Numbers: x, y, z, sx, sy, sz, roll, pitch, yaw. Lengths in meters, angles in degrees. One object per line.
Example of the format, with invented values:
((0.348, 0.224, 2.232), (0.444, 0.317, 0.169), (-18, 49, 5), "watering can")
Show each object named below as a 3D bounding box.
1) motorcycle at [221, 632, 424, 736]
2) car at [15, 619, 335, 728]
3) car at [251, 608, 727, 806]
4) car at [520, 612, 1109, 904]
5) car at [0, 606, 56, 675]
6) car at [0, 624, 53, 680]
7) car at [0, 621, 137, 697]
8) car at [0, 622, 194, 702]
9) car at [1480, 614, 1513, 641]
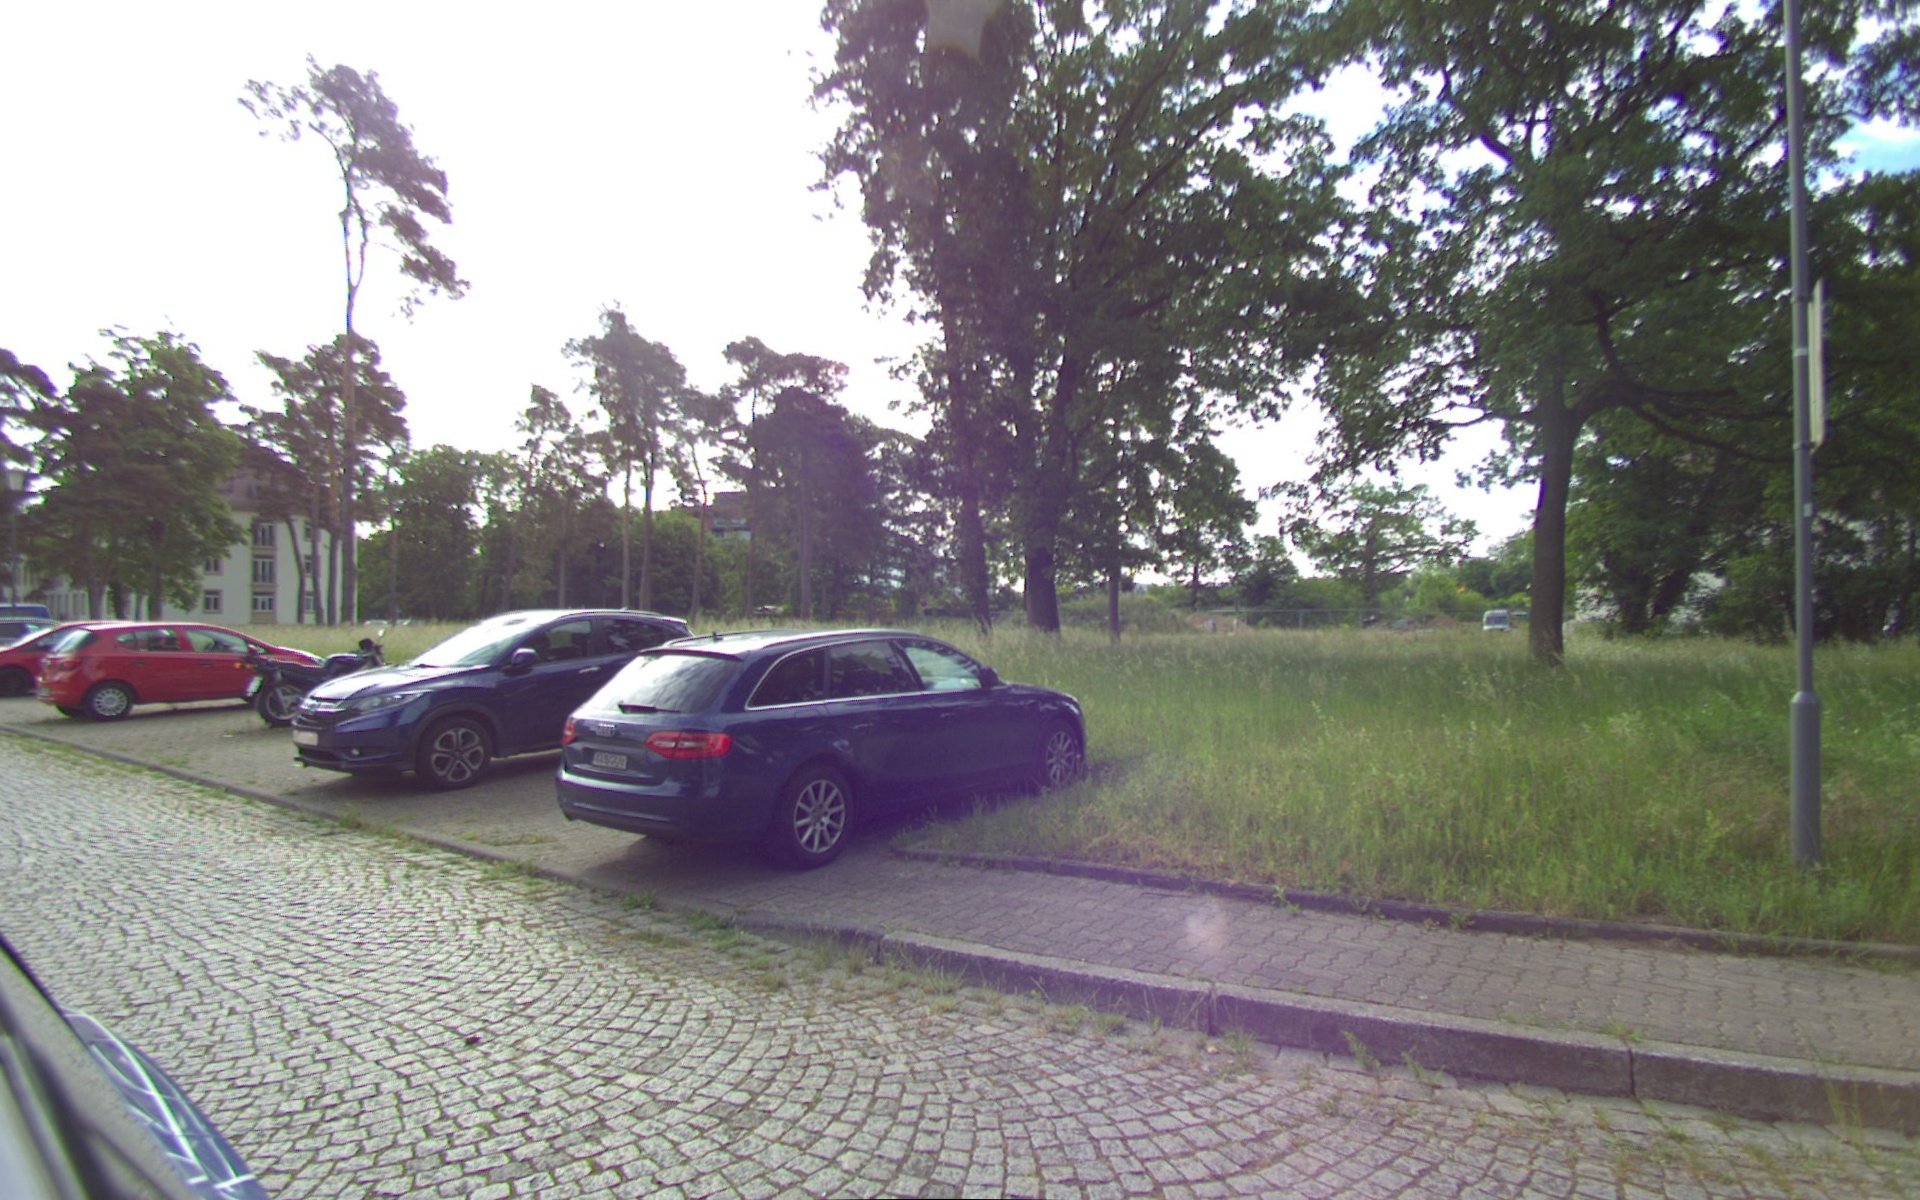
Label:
((-8.957, 1.129, 14.335), (0.742, 1.298, 2.334), (-2, -1, 36), "motorcycle")
((-12.726, 1.109, 16.621), (1.668, 1.490, 3.850), (-1, -1, 35), "car")
((-4.547, 0.882, 10.364), (1.786, 1.585, 4.103), (0, -1, 34), "car")
((-0.746, 0.863, 7.544), (1.680, 1.491, 4.387), (-2, -1, 39), "car")
((-28.363, 1.185, 27.844), (2.156, 1.880, 4.781), (0, 2, 34), "car")
((-26.331, 1.433, 26.231), (1.738, 1.403, 3.888), (0, 2, 34), "car")
((-21.101, 1.295, 22.576), (1.816, 1.616, 3.874), (-1, -2, 33), "car")
((-18.731, 1.255, 21.264), (1.704, 1.532, 3.906), (-2, -2, 36), "car")
((44.524, 2.265, 83.943), (2.033, 2.028, 4.182), (0, 2, 33), "car")
